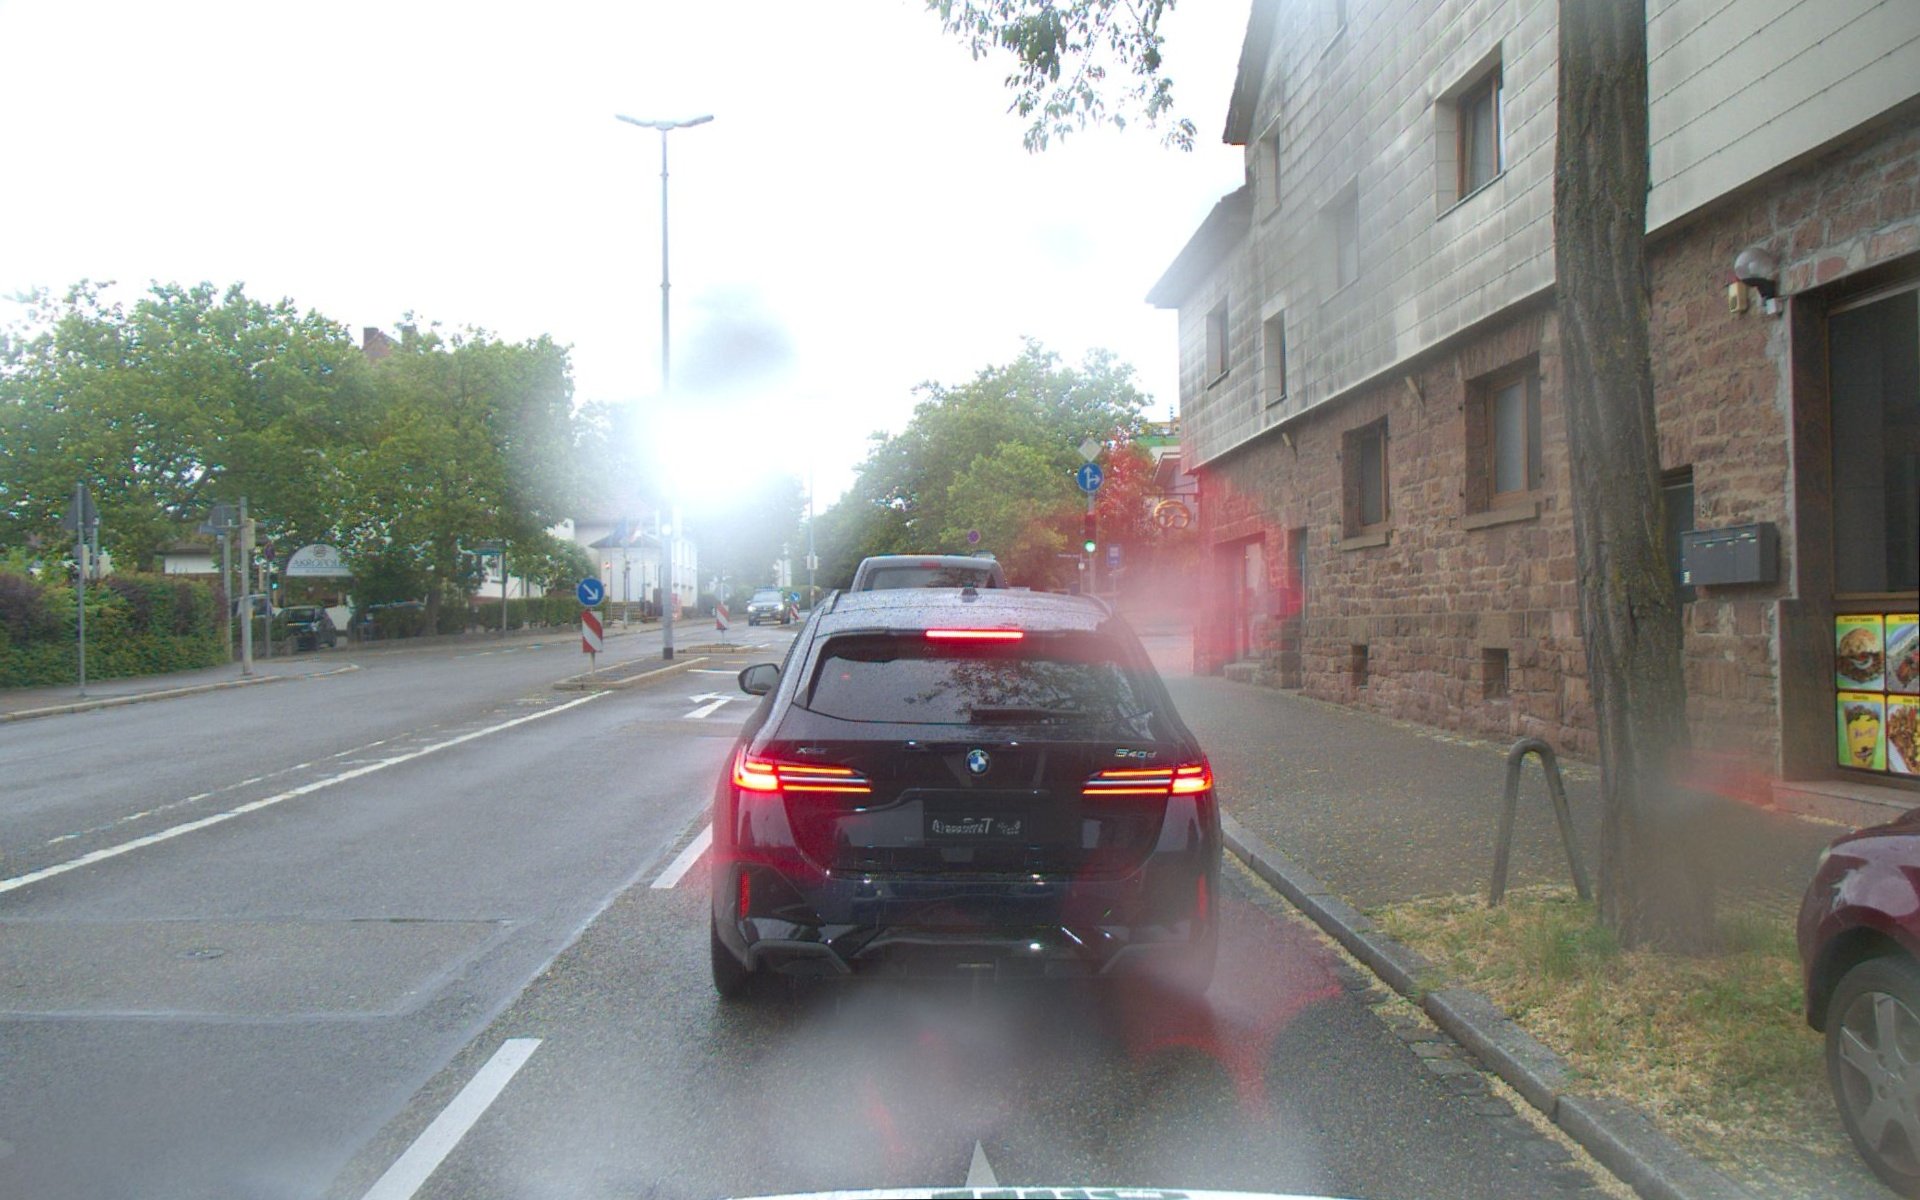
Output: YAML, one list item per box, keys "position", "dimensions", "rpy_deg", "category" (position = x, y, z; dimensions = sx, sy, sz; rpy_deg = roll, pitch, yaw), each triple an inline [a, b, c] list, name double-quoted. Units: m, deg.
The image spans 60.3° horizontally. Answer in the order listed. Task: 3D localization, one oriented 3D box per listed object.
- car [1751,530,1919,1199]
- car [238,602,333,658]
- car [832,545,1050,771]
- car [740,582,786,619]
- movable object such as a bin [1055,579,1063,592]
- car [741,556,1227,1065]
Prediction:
- position: [3.064, 0.581, 2.692]
  dimensions: [1.578, 1.530, 3.753]
  rpy_deg: [1, -2, -4]
  category: "car"
- position: [-23.131, 0.991, 56.867]
  dimensions: [1.772, 1.578, 4.000]
  rpy_deg: [1, 4, -3]
  category: "car"
- position: [-0.270, 0.488, 15.528]
  dimensions: [1.776, 1.840, 3.753]
  rpy_deg: [1, 0, -4]
  category: "car"
- position: [-9.185, -0.009, 77.381]
  dimensions: [1.861, 1.604, 4.499]
  rpy_deg: [-1, 1, -4]
  category: "car"
- position: [6.896, -0.991, 115.403]
  dimensions: [0.440, 0.921, 0.463]
  rpy_deg: [1, -1, 14]
  category: "movable object such as a bin"
- position: [-0.029, 0.665, 6.898]
  dimensions: [1.494, 1.561, 3.529]
  rpy_deg: [1, 0, -4]
  category: "car"
